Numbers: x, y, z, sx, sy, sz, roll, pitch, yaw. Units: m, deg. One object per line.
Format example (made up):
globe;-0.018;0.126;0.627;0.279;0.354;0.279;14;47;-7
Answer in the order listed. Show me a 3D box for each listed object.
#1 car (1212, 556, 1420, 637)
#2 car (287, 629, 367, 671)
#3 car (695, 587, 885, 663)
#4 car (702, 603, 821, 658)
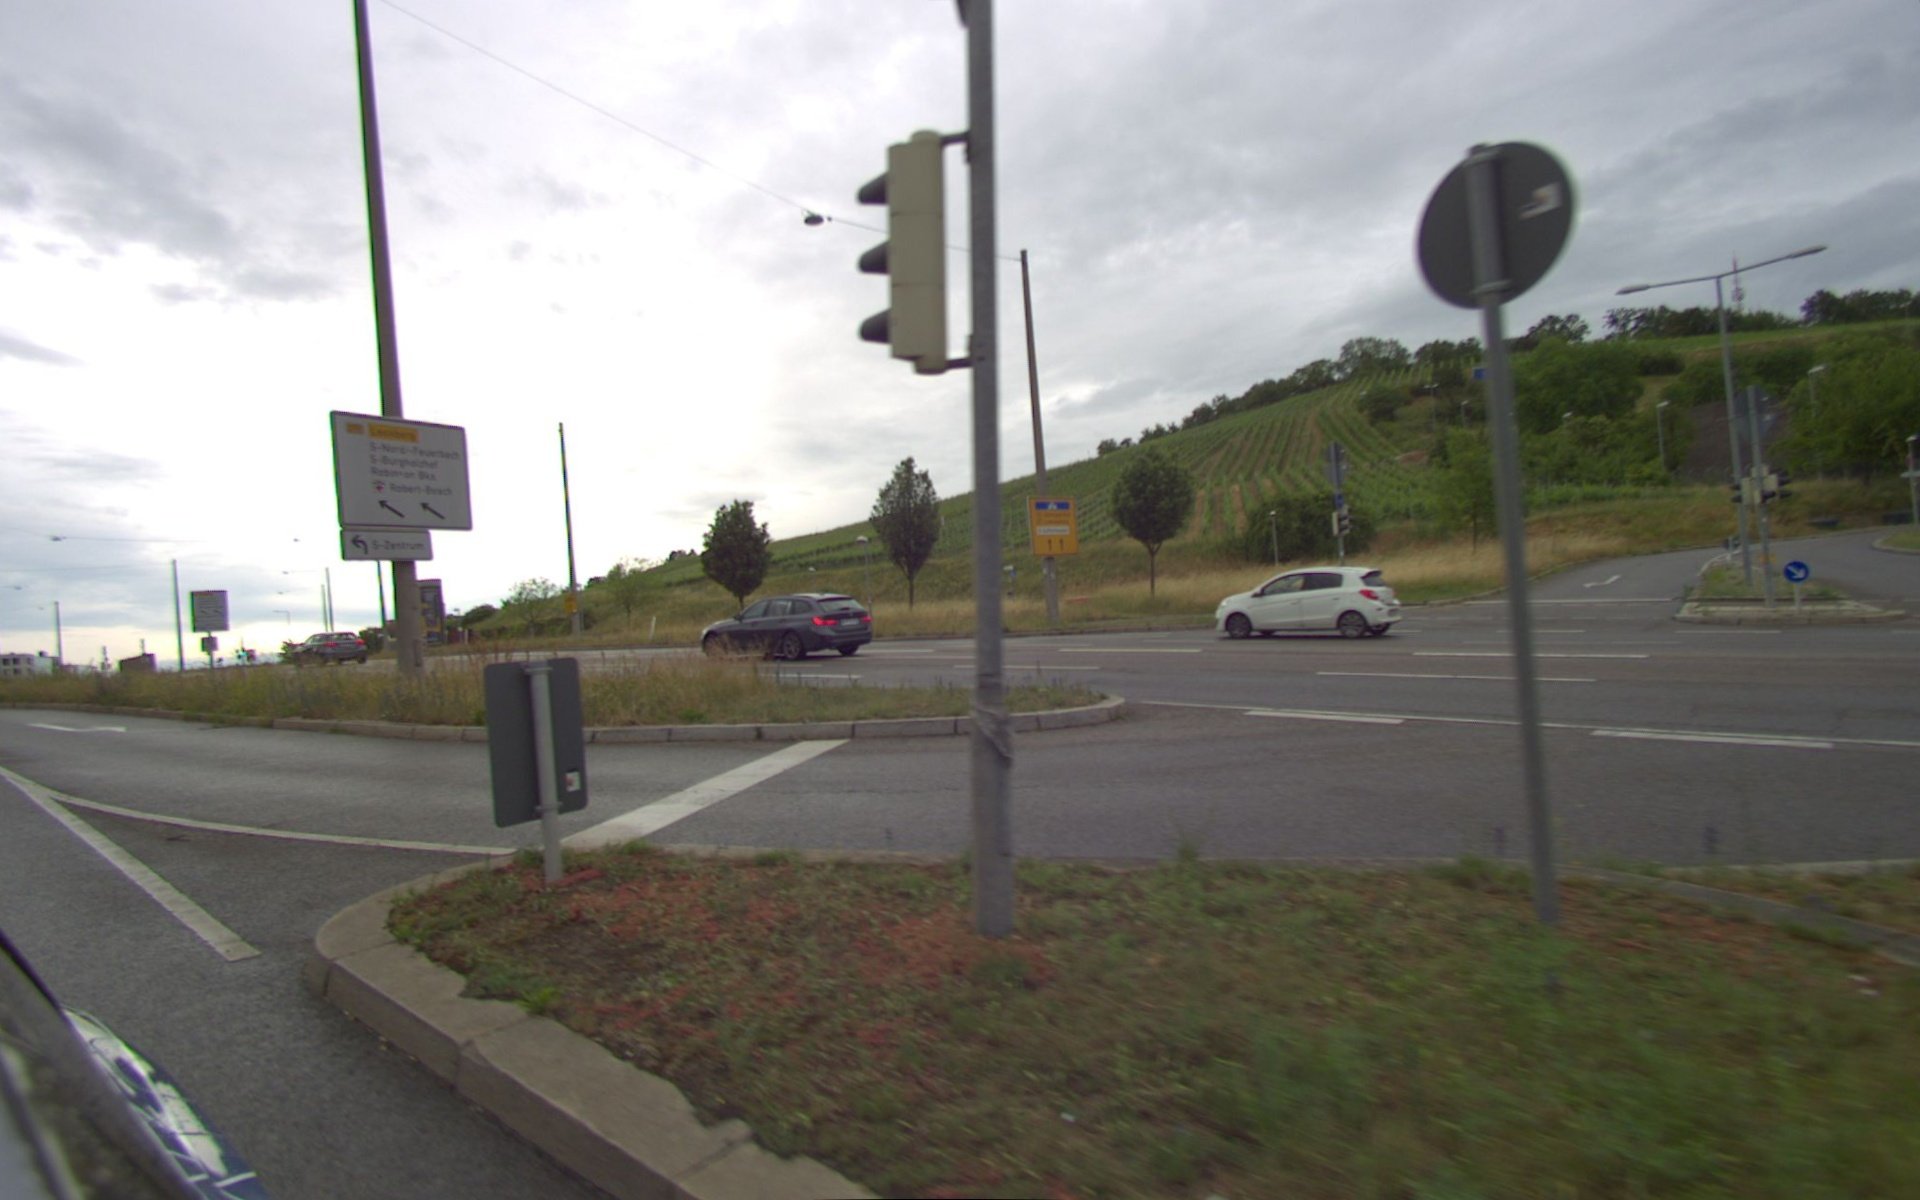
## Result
car;7.469;-0.042;21.408;3.772;1.474;1.634;-4;0;41
car;-26.656;2.130;42.555;3.998;1.529;1.749;-5;-1;41
car;-3.933;0.581;22.951;4.460;1.515;1.733;-2;1;40
car;-6.739;1.008;34.141;4.176;1.660;1.749;-1;1;41
